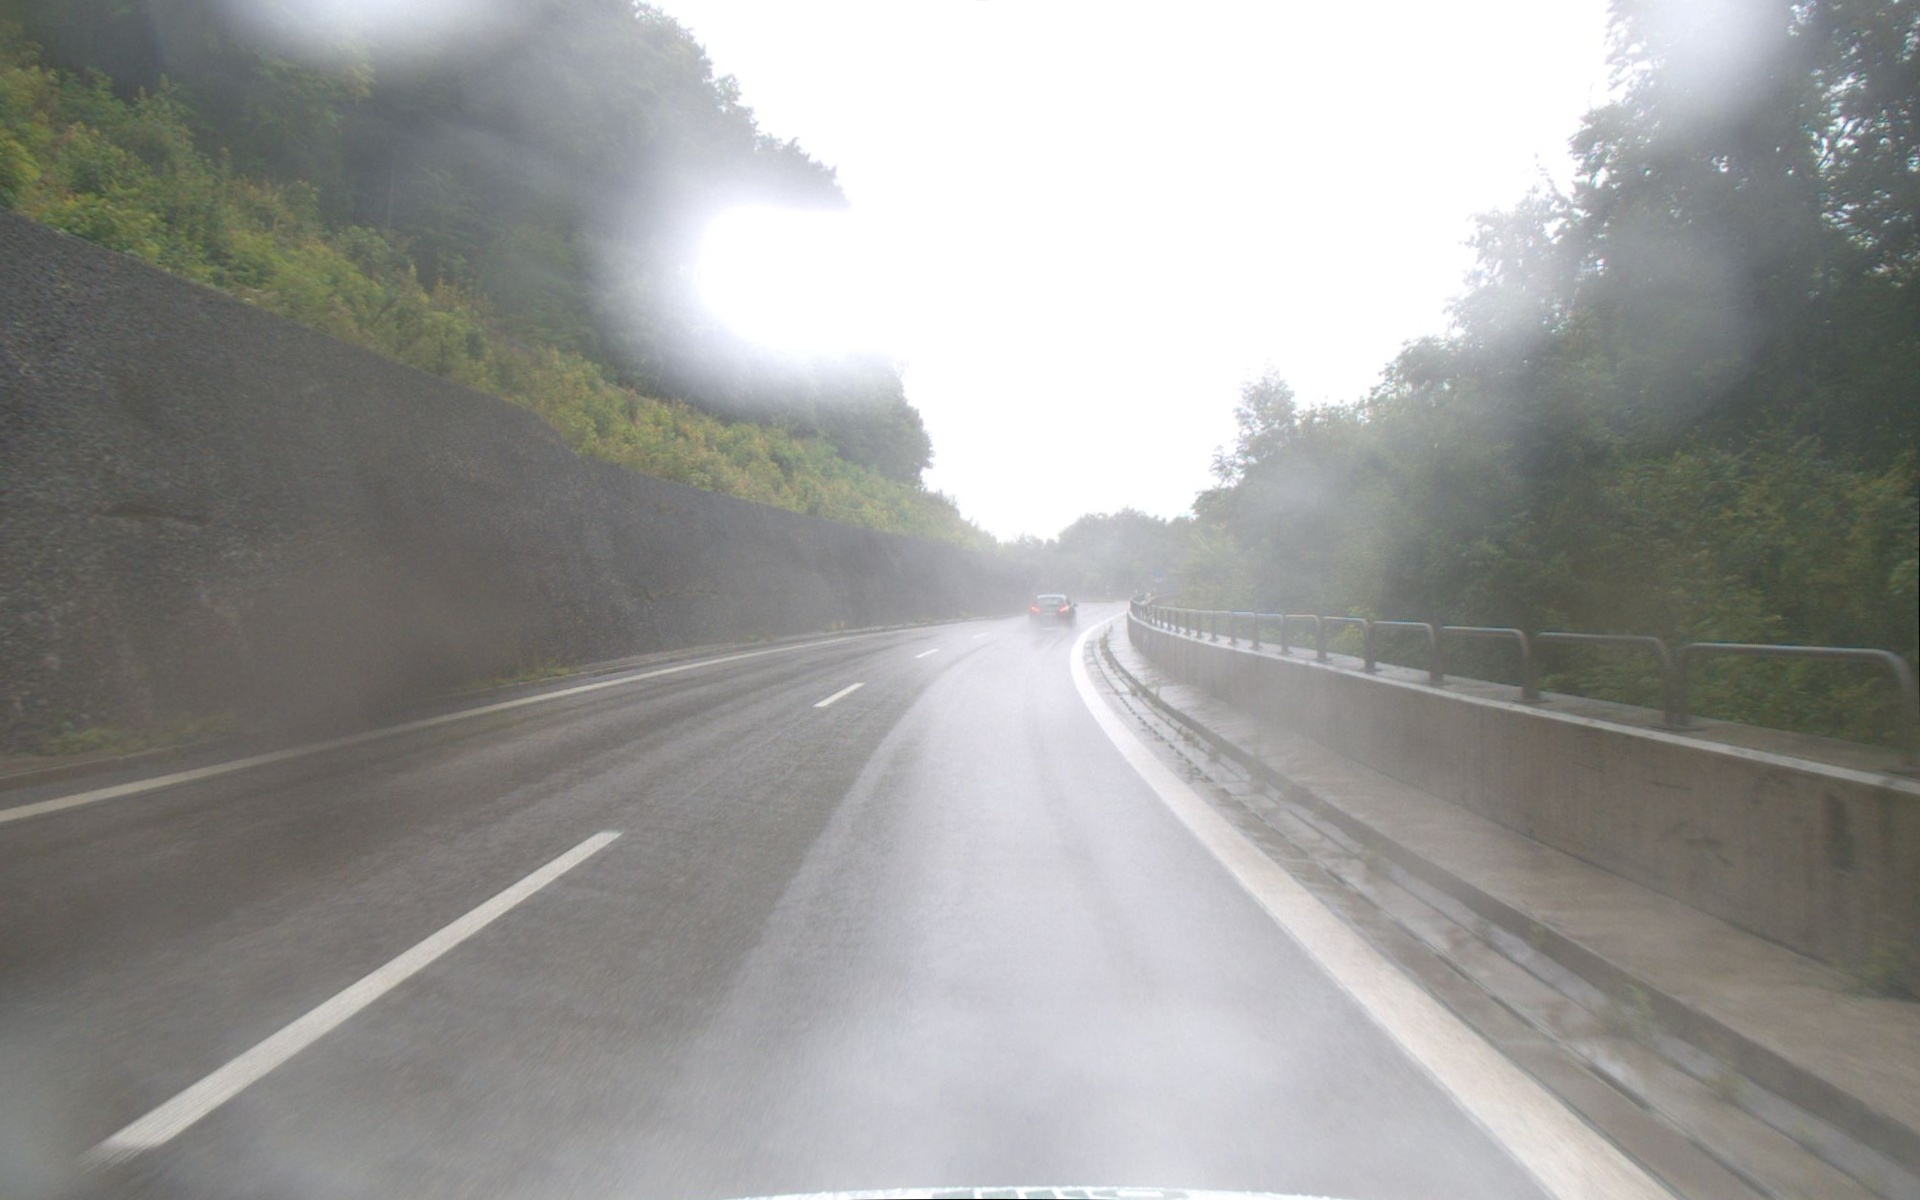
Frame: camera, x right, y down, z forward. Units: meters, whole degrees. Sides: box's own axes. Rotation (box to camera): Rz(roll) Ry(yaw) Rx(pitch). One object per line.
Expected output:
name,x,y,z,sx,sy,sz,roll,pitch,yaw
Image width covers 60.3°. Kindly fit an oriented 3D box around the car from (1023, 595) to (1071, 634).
car,3.608,0.569,68.248,1.864,1.525,4.002,-1,0,4
